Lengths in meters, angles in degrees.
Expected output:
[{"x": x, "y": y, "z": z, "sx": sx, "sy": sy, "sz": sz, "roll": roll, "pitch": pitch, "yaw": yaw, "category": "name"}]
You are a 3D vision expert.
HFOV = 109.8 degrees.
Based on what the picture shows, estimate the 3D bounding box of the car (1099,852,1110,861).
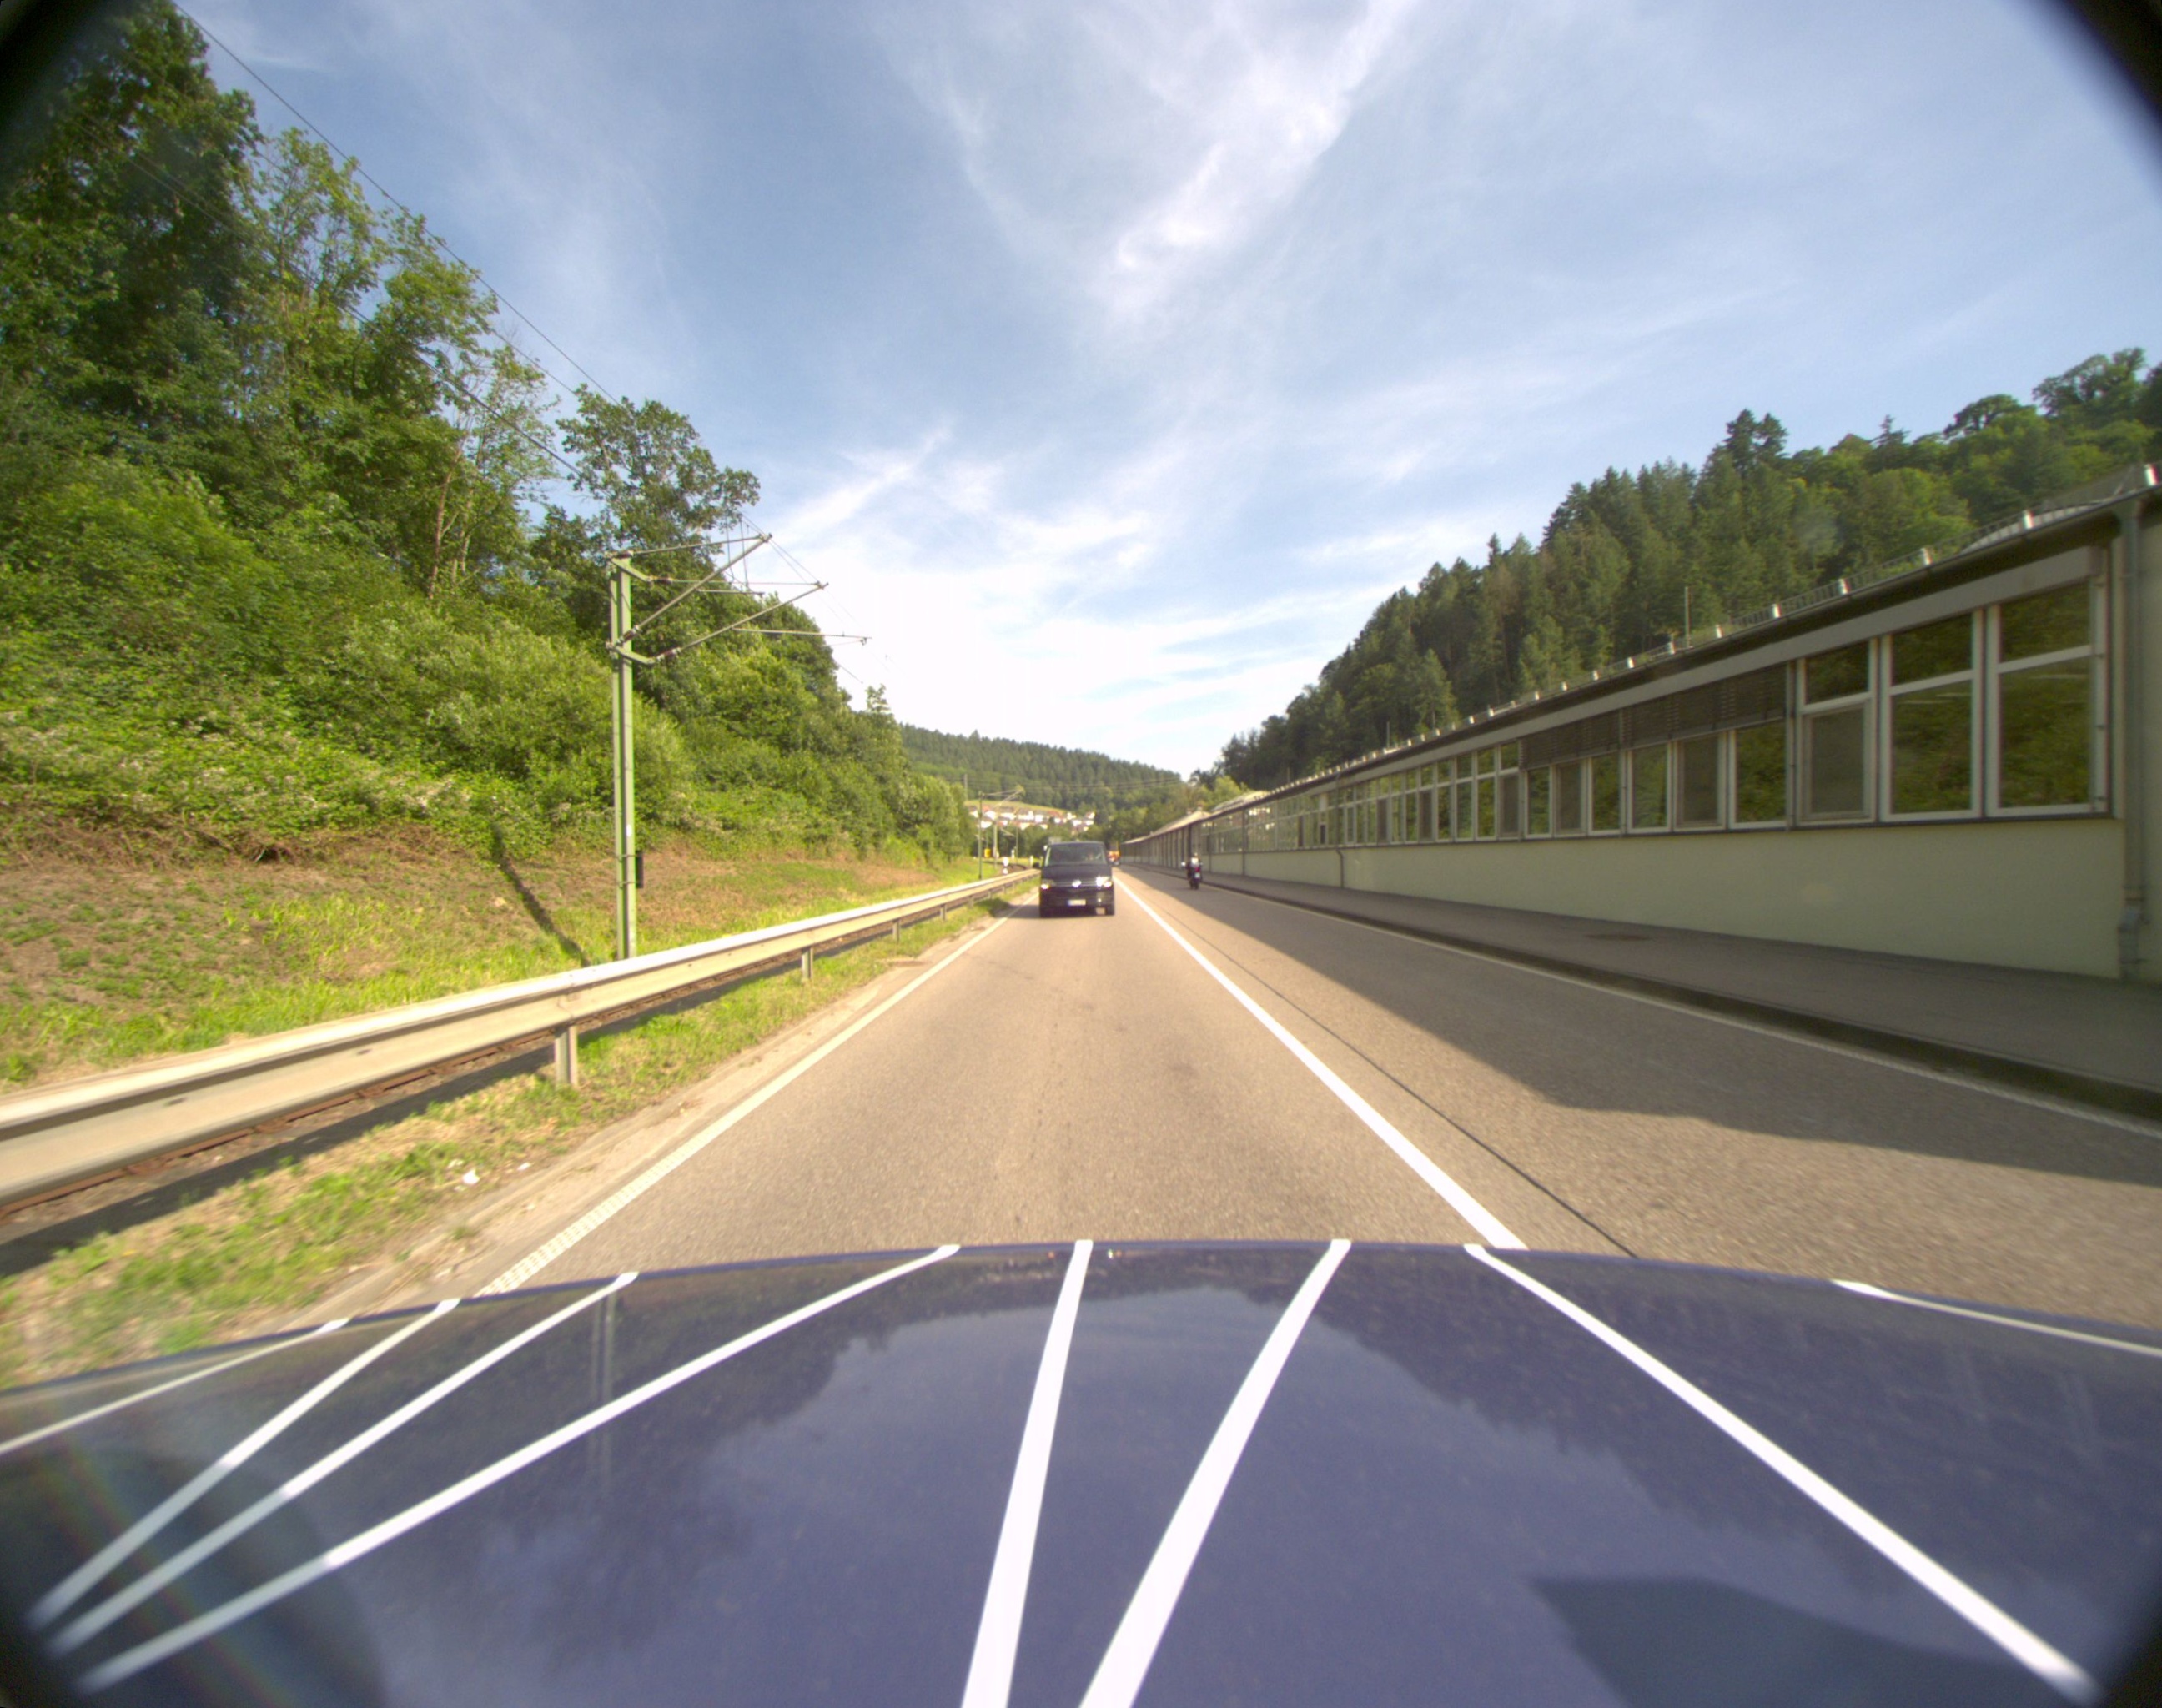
[{"x": 4.234, "y": 0.471, "z": 136.268, "sx": 1.723, "sy": 1.505, "sz": 4.198, "roll": -2, "pitch": 0, "yaw": 1, "category": "car"}]

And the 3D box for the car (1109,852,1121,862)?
[{"x": 5.385, "y": 0.492, "z": 120.942, "sx": 1.778, "sy": 1.482, "sz": 4.051, "roll": -2, "pitch": 0, "yaw": 1, "category": "car"}]

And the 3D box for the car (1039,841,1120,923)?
[{"x": -0.130, "y": 0.671, "z": 20.902, "sx": 1.901, "sy": 1.927, "sz": 5.187, "roll": -1, "pitch": 0, "yaw": -2, "category": "car"}]

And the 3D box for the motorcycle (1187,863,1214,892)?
[{"x": 4.921, "y": 0.948, "z": 31.429, "sx": 0.743, "sy": 1.062, "sz": 2.492, "roll": -1, "pitch": 0, "yaw": 1, "category": "motorcycle"}]

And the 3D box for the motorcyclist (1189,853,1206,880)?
[{"x": 4.874, "y": 0.510, "z": 31.747, "sx": 0.587, "sy": 1.118, "sz": 0.636, "roll": -1, "pitch": 1, "yaw": 1, "category": "motorcyclist"}]
